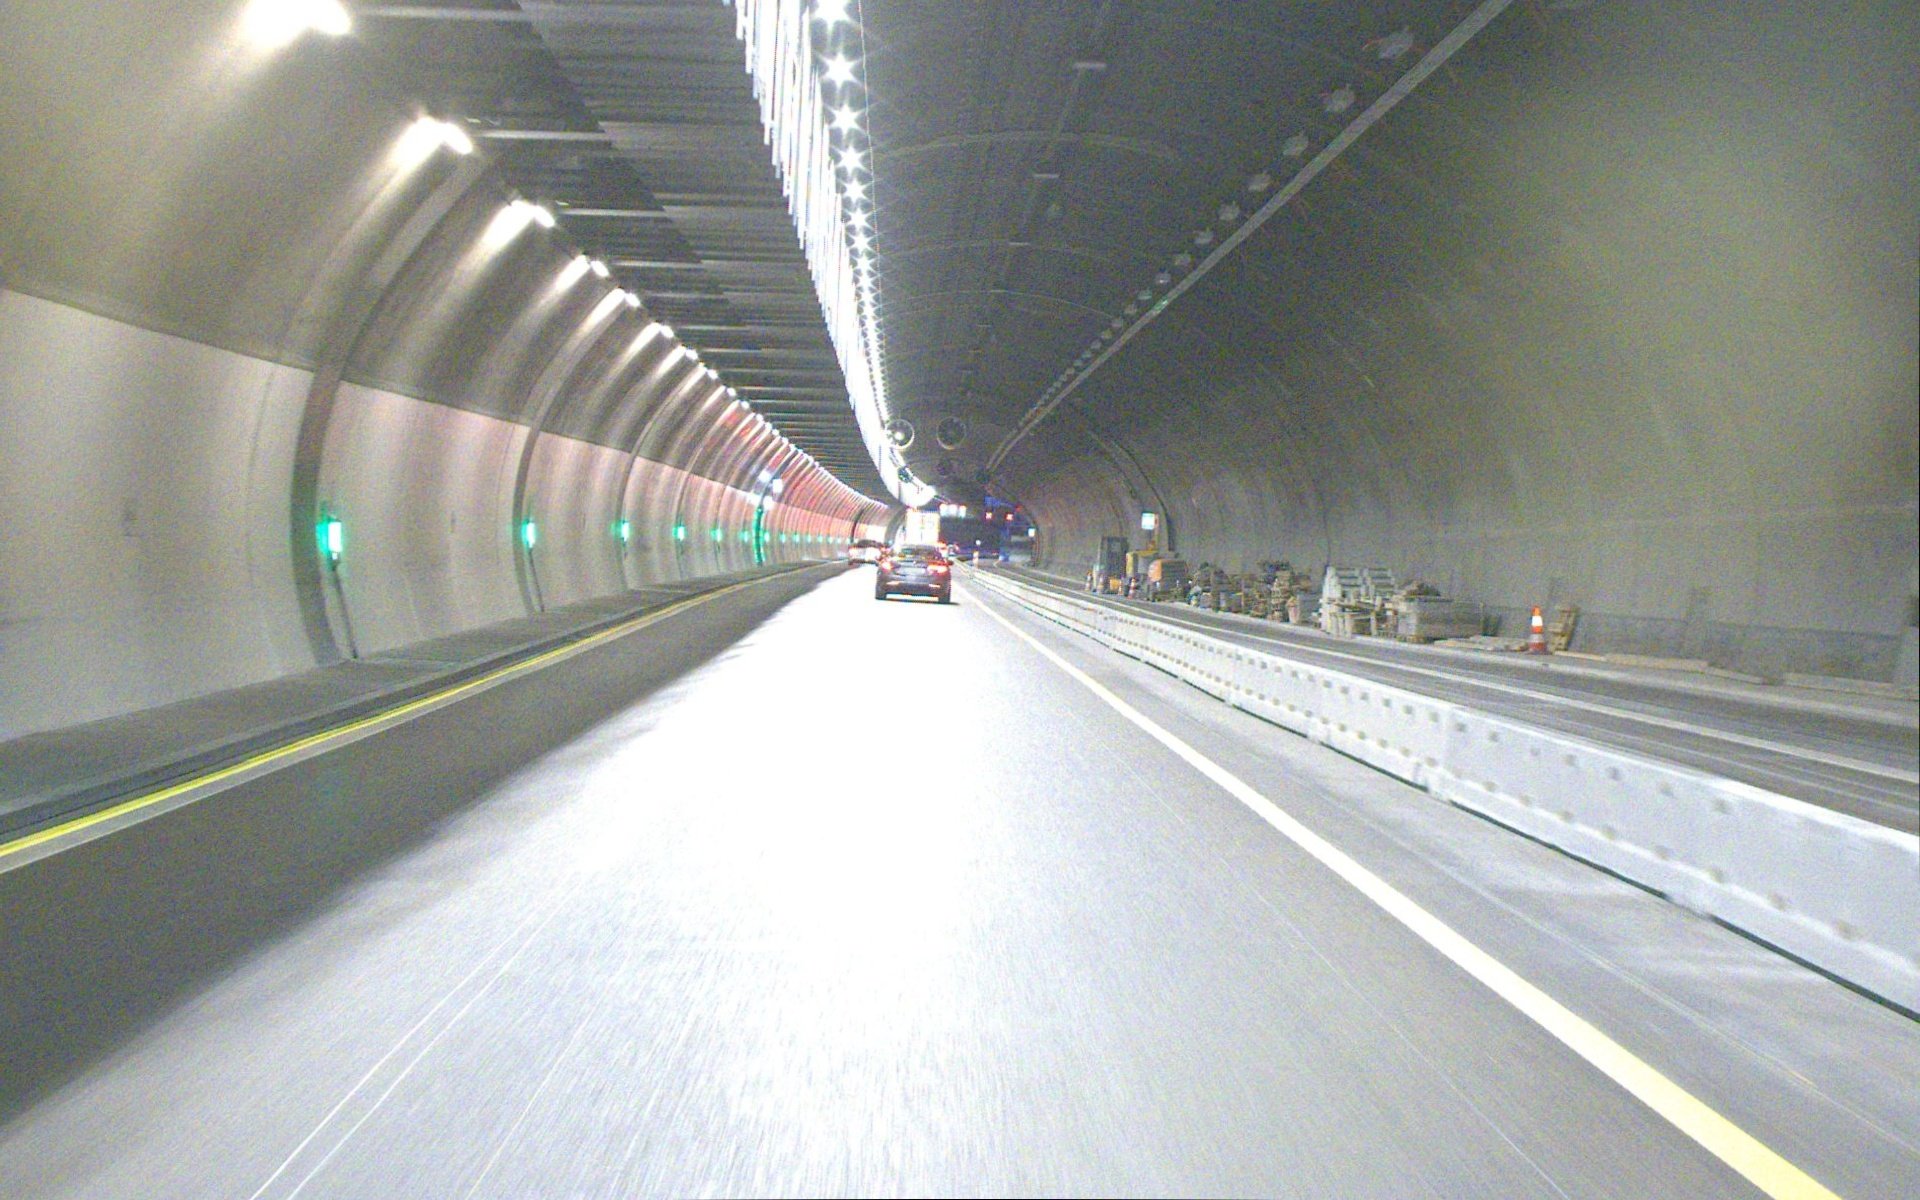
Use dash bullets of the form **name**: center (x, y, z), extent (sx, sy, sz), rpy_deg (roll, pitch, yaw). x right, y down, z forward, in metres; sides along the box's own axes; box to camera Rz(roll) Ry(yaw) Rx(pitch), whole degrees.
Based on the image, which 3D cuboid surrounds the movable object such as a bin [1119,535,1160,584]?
- **movable object such as a bin**: center (6.483, -1.472, 124.066), extent (1.234, 1.713, 2.217), rpy_deg (2, 1, -1)

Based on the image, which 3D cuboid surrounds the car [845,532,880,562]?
- **car**: center (-5.545, -3.033, 196.118), extent (1.930, 1.681, 4.000), rpy_deg (0, 1, -1)

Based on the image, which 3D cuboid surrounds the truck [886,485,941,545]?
- **truck**: center (-3.574, -6.552, 266.194), extent (4.066, 4.517, 14.966), rpy_deg (1, 1, -1)

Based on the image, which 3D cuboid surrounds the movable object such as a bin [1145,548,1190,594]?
- **movable object such as a bin**: center (6.798, -0.962, 112.755), extent (1.234, 1.437, 2.217), rpy_deg (2, 1, -1)

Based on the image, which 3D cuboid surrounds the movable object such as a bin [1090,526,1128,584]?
- **movable object such as a bin**: center (5.668, -1.713, 131.023), extent (1.234, 2.133, 2.217), rpy_deg (2, 1, -1)

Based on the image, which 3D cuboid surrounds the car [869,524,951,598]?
- **car**: center (-1.284, -0.993, 86.447), extent (1.946, 1.788, 4.001), rpy_deg (0, 1, -2)
